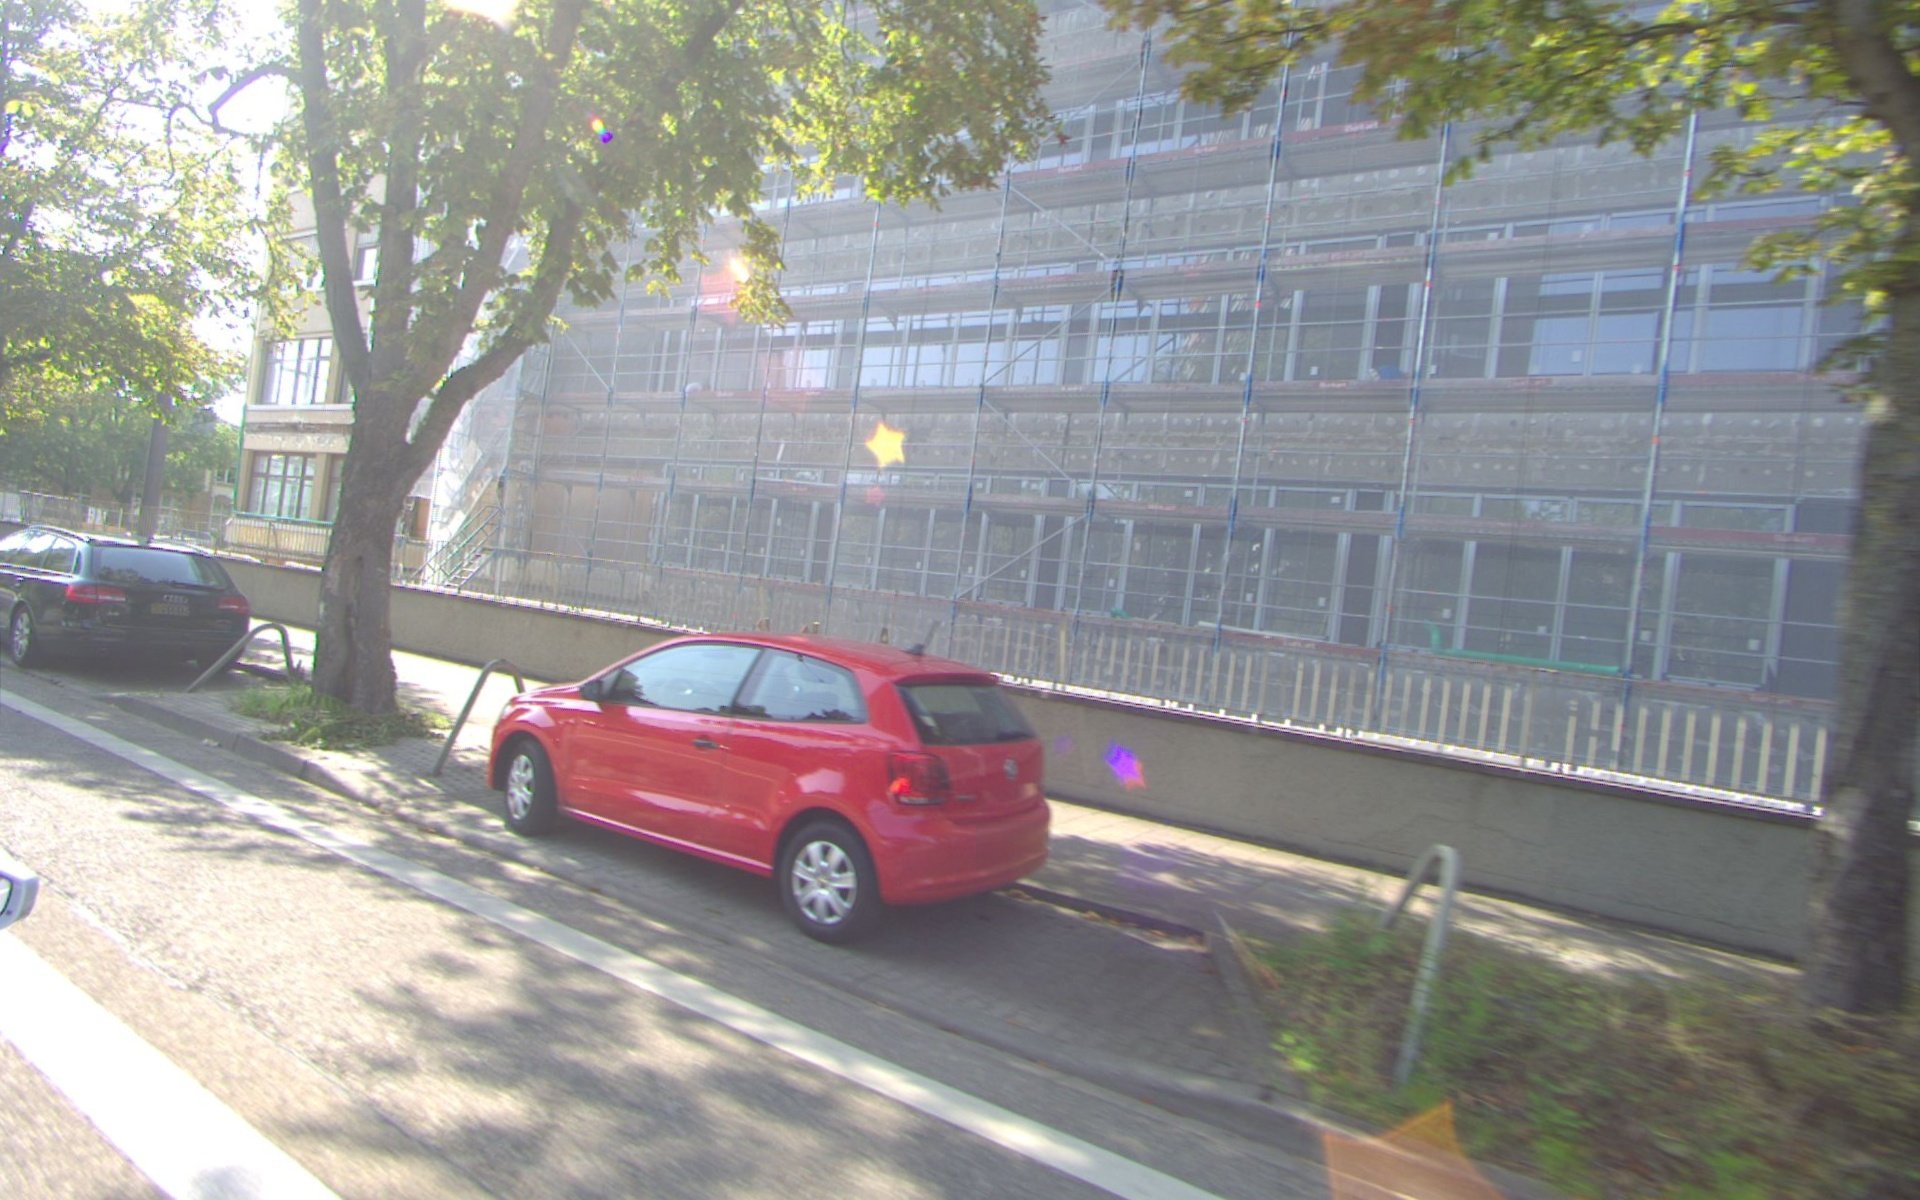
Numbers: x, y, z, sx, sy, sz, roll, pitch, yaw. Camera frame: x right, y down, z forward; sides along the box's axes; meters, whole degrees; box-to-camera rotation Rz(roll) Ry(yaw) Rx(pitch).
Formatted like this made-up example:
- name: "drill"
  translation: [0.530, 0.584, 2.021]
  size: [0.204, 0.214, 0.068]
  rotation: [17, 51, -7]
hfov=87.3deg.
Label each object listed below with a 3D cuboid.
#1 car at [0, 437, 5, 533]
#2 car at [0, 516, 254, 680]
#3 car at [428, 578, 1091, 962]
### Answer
- name: "car"
  translation: [-18.382, -1.642, 16.780]
  size: [5.409, 2.586, 2.083]
  rotation: [7, 2, 30]
- name: "car"
  translation: [-10.066, -0.125, 11.397]
  size: [4.748, 1.391, 1.618]
  rotation: [7, -1, 33]
- name: "car"
  translation: [-1.380, 0.819, 6.323]
  size: [3.934, 1.430, 1.619]
  rotation: [7, -1, 32]
